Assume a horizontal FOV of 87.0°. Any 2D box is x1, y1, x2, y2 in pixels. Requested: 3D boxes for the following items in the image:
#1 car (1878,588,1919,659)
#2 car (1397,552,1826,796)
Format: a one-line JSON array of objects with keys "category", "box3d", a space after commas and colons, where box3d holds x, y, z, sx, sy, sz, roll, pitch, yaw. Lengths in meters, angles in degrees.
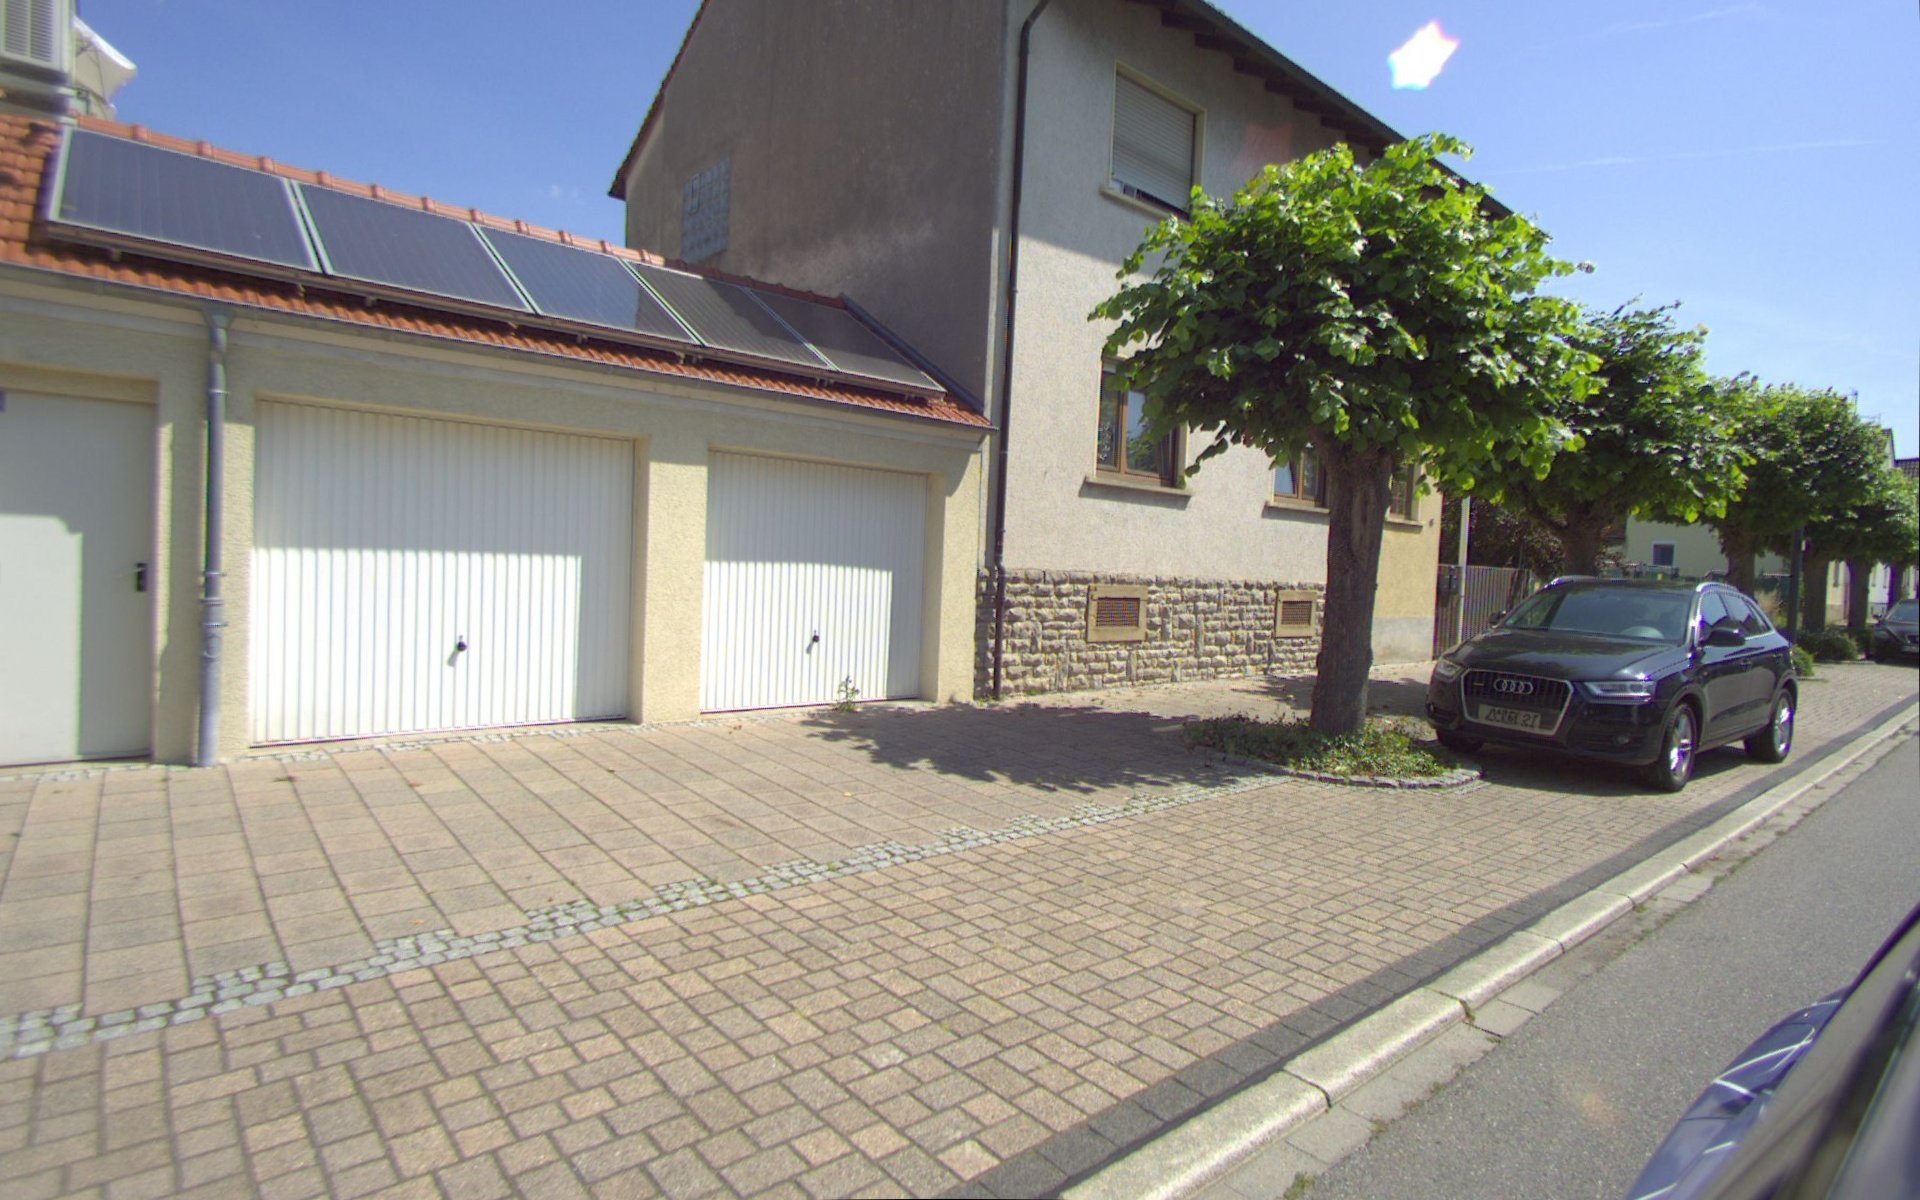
[{"category": "car", "box3d": [21.905, 0.549, 22.420, 3.986, 1.449, 1.828, 0, 4, -42]}, {"category": "car", "box3d": [5.774, 0.489, 8.820, 3.982, 1.605, 1.830, 1, 4, -37]}]
